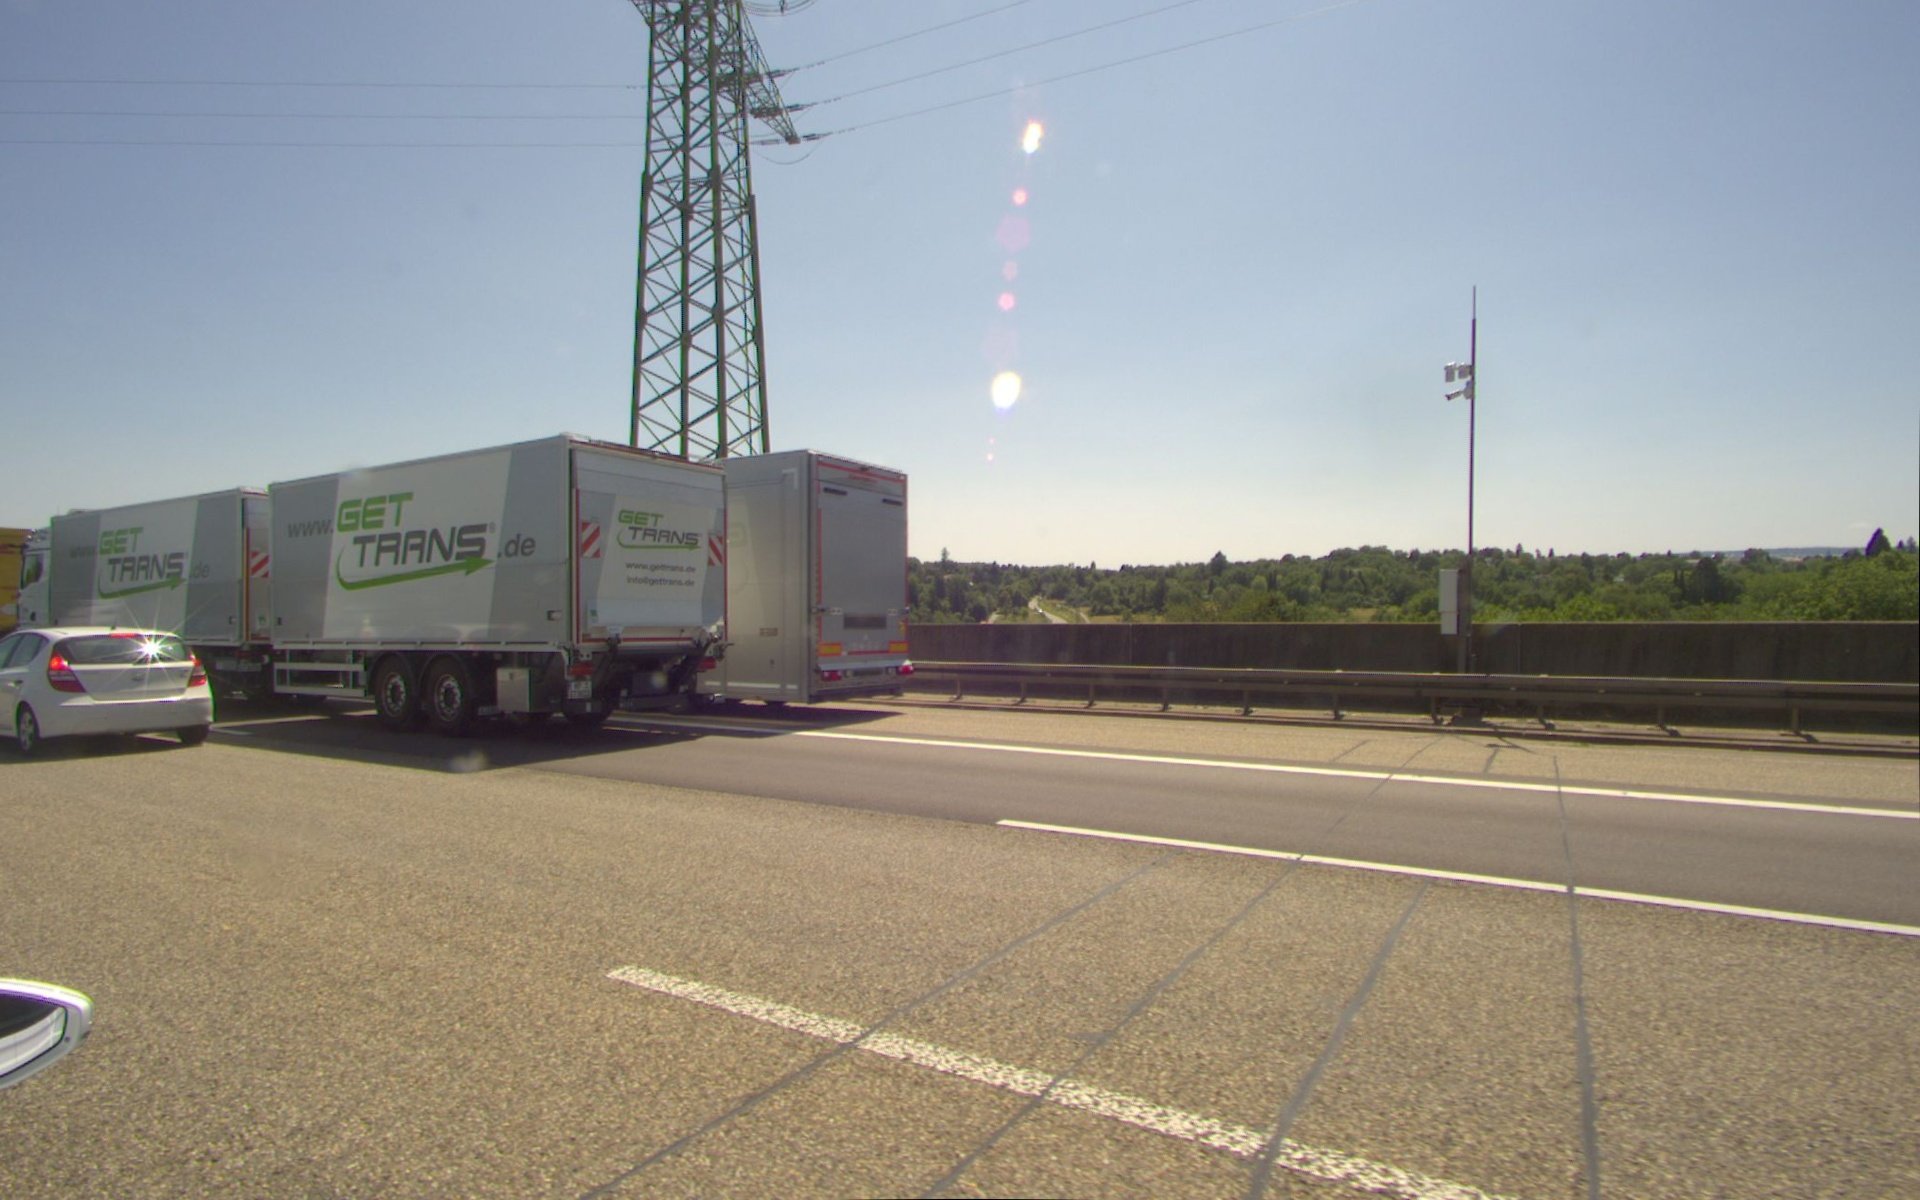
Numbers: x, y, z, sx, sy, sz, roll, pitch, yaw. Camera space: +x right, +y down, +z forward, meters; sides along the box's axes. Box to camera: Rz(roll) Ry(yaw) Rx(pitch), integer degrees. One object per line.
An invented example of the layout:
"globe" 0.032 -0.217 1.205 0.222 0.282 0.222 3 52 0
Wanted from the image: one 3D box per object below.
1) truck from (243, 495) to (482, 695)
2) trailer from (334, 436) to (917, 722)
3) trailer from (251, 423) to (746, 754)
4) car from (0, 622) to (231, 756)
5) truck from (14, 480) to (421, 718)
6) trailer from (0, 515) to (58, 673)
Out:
"truck" -14.059 -0.044 23.487 5.633 4.173 2.512 -1 -1 32
"trailer" -7.151 -0.178 19.262 13.573 4.172 2.532 -1 -2 32
"trailer" -6.969 -0.067 14.610 7.899 3.748 2.693 -1 -1 32
"car" -11.391 1.022 12.924 4.232 1.474 1.785 -1 -1 32
"truck" -14.894 0.061 19.612 10.851 3.695 2.652 -1 -1 32
"trailer" -29.879 -0.084 29.305 8.883 4.293 2.860 -1 -2 32
